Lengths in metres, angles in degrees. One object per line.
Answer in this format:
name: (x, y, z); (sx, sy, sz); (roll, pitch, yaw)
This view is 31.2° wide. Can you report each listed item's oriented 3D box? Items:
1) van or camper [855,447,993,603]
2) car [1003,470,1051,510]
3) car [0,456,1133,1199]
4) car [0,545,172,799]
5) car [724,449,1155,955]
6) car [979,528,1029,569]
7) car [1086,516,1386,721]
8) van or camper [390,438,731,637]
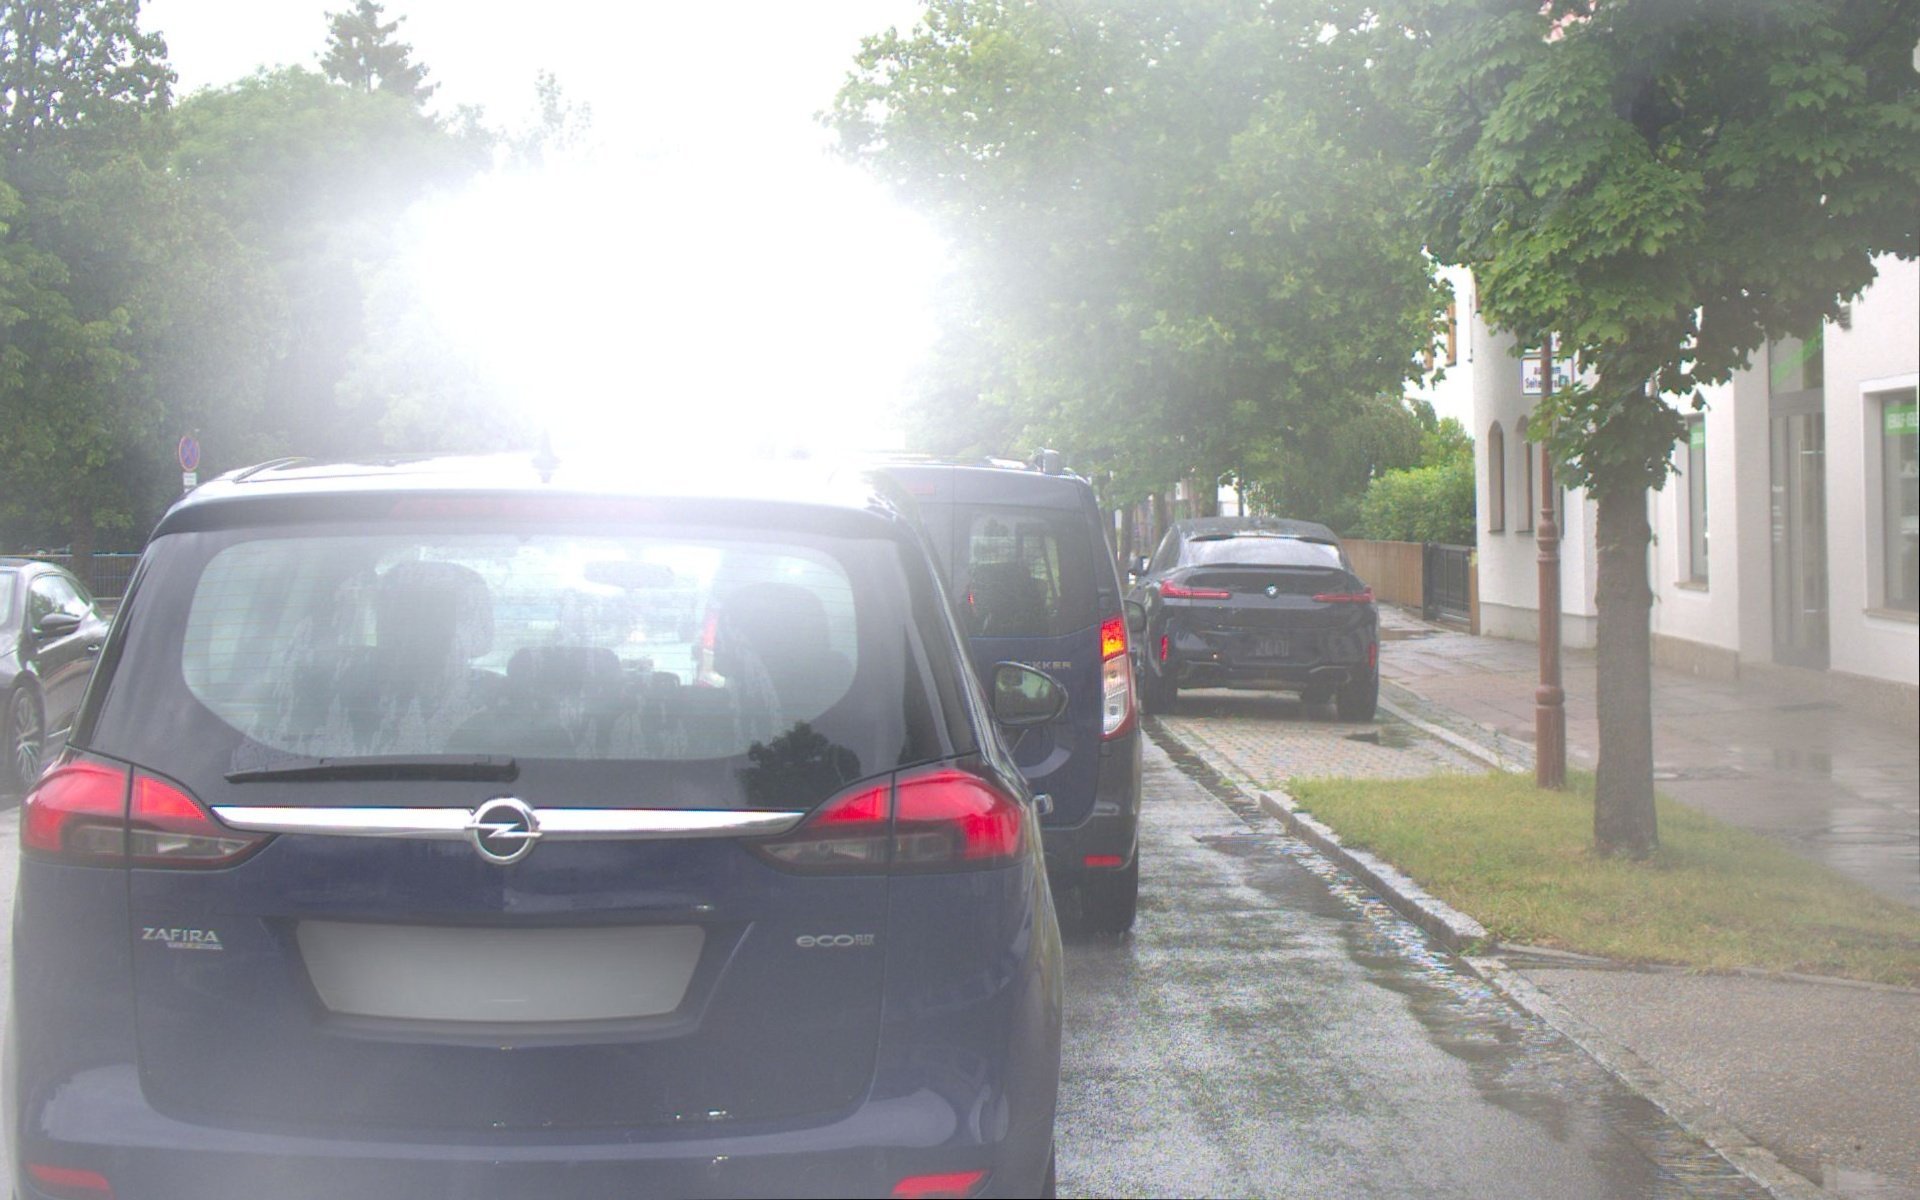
van or camper: (-0.642, -1.357, 62.353); (2.360, 2.656, 5.372); (-1, 1, 0)
car: (2.466, -4.048, 127.119); (1.630, 1.373, 3.623); (-2, 1, -1)
car: (-0.643, 0.551, 7.063); (1.768, 1.599, 3.663); (1, 1, 0)
car: (-6.319, 0.404, 21.233); (1.996, 1.402, 3.884); (-2, 1, 0)
car: (-0.086, 0.329, 13.691); (1.500, 1.770, 3.112); (1, 1, 0)
car: (1.491, -1.760, 117.823); (1.630, 1.373, 3.623); (0, 1, -1)
car: (2.244, 0.116, 28.965); (2.117, 1.575, 3.936); (1, 1, -1)
van or camper: (-5.879, -0.899, 49.743); (2.094, 2.698, 6.267); (-2, 1, -35)
